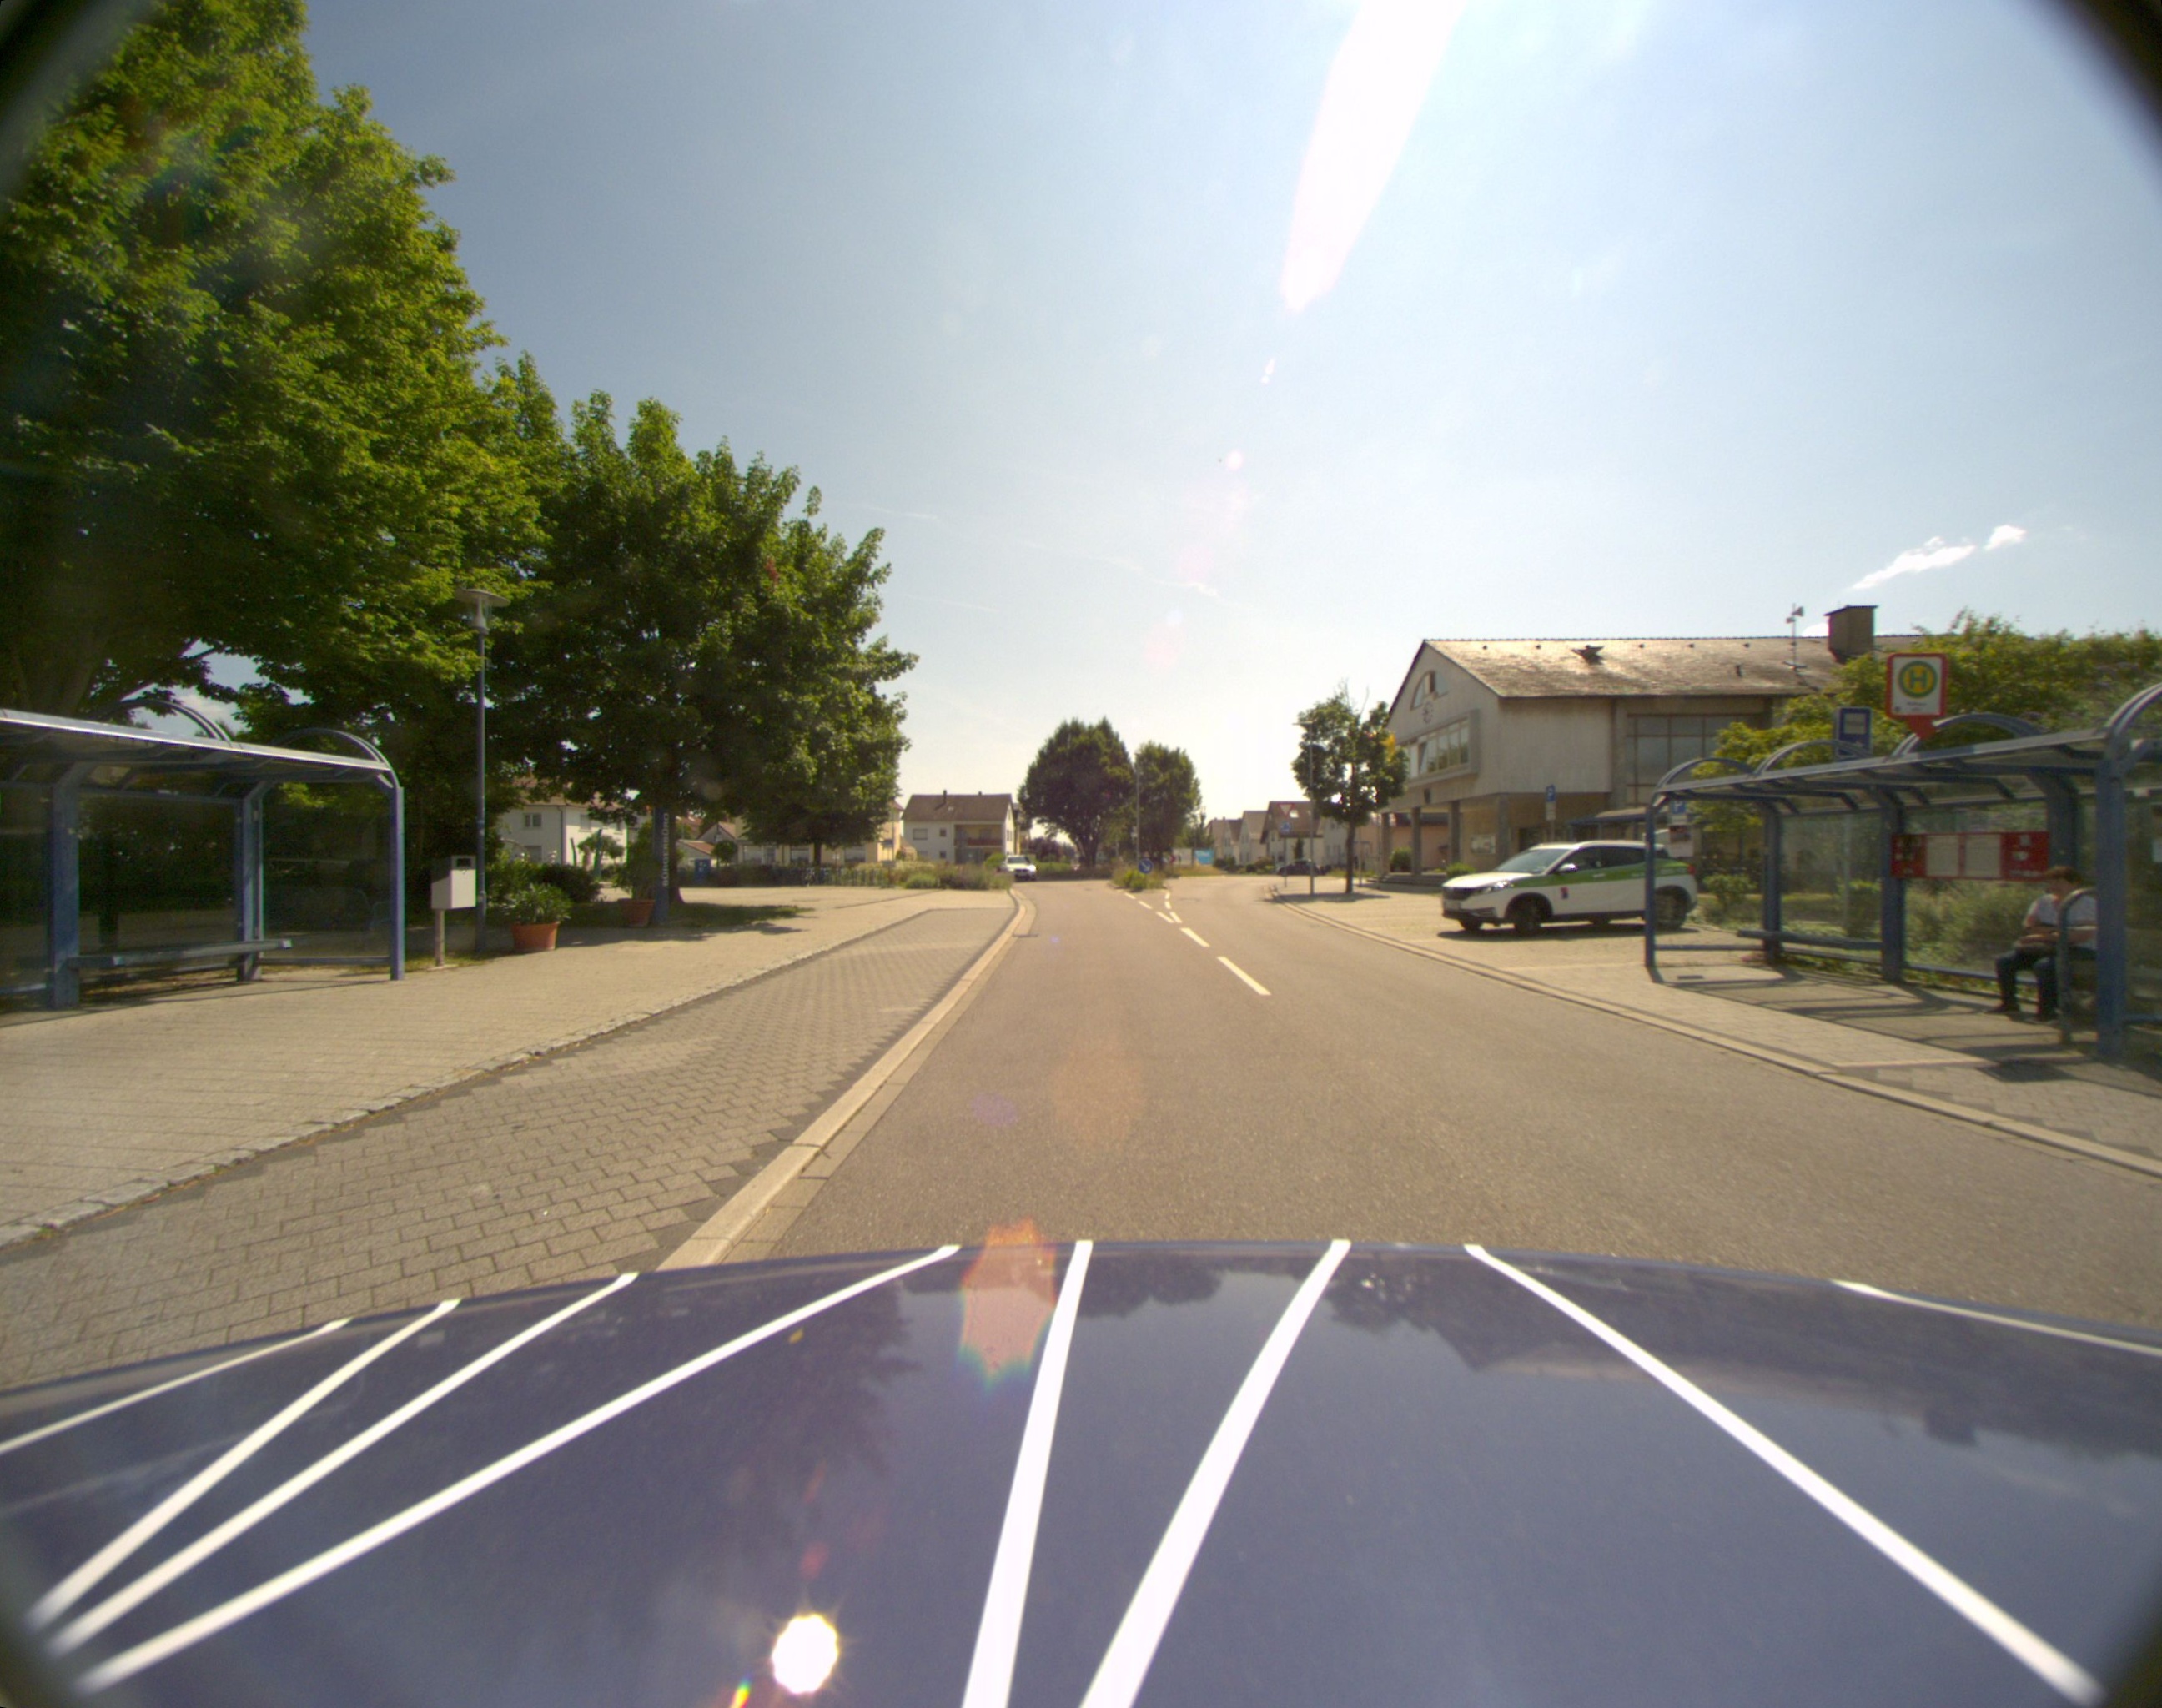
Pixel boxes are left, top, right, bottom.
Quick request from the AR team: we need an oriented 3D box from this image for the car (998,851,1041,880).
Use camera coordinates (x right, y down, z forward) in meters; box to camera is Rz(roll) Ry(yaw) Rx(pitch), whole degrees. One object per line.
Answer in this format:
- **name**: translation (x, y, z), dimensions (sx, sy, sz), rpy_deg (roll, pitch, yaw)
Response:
- **car**: translation (-3.799, 0.685, 46.432), dimensions (1.860, 1.603, 4.129), rpy_deg (-3, 0, -15)

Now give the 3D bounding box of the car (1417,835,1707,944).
- **car**: translation (8.867, 0.603, 14.250), dimensions (4.251, 1.709, 1.945), rpy_deg (-3, 1, -5)

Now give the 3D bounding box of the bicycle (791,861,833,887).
- **bicycle**: translation (-12.491, 0.907, 35.363), dimensions (0.838, 1.105, 2.632), rpy_deg (-1, 0, 4)

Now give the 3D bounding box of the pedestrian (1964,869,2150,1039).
- **pedestrian**: translation (8.241, 0.813, 6.447), dimensions (0.787, 1.350, 0.607), rpy_deg (-1, 1, 1)

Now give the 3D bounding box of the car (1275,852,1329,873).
- **car**: translation (17.812, 0.686, 61.321), dimensions (3.993, 1.484, 2.002), rpy_deg (-2, 1, 12)
